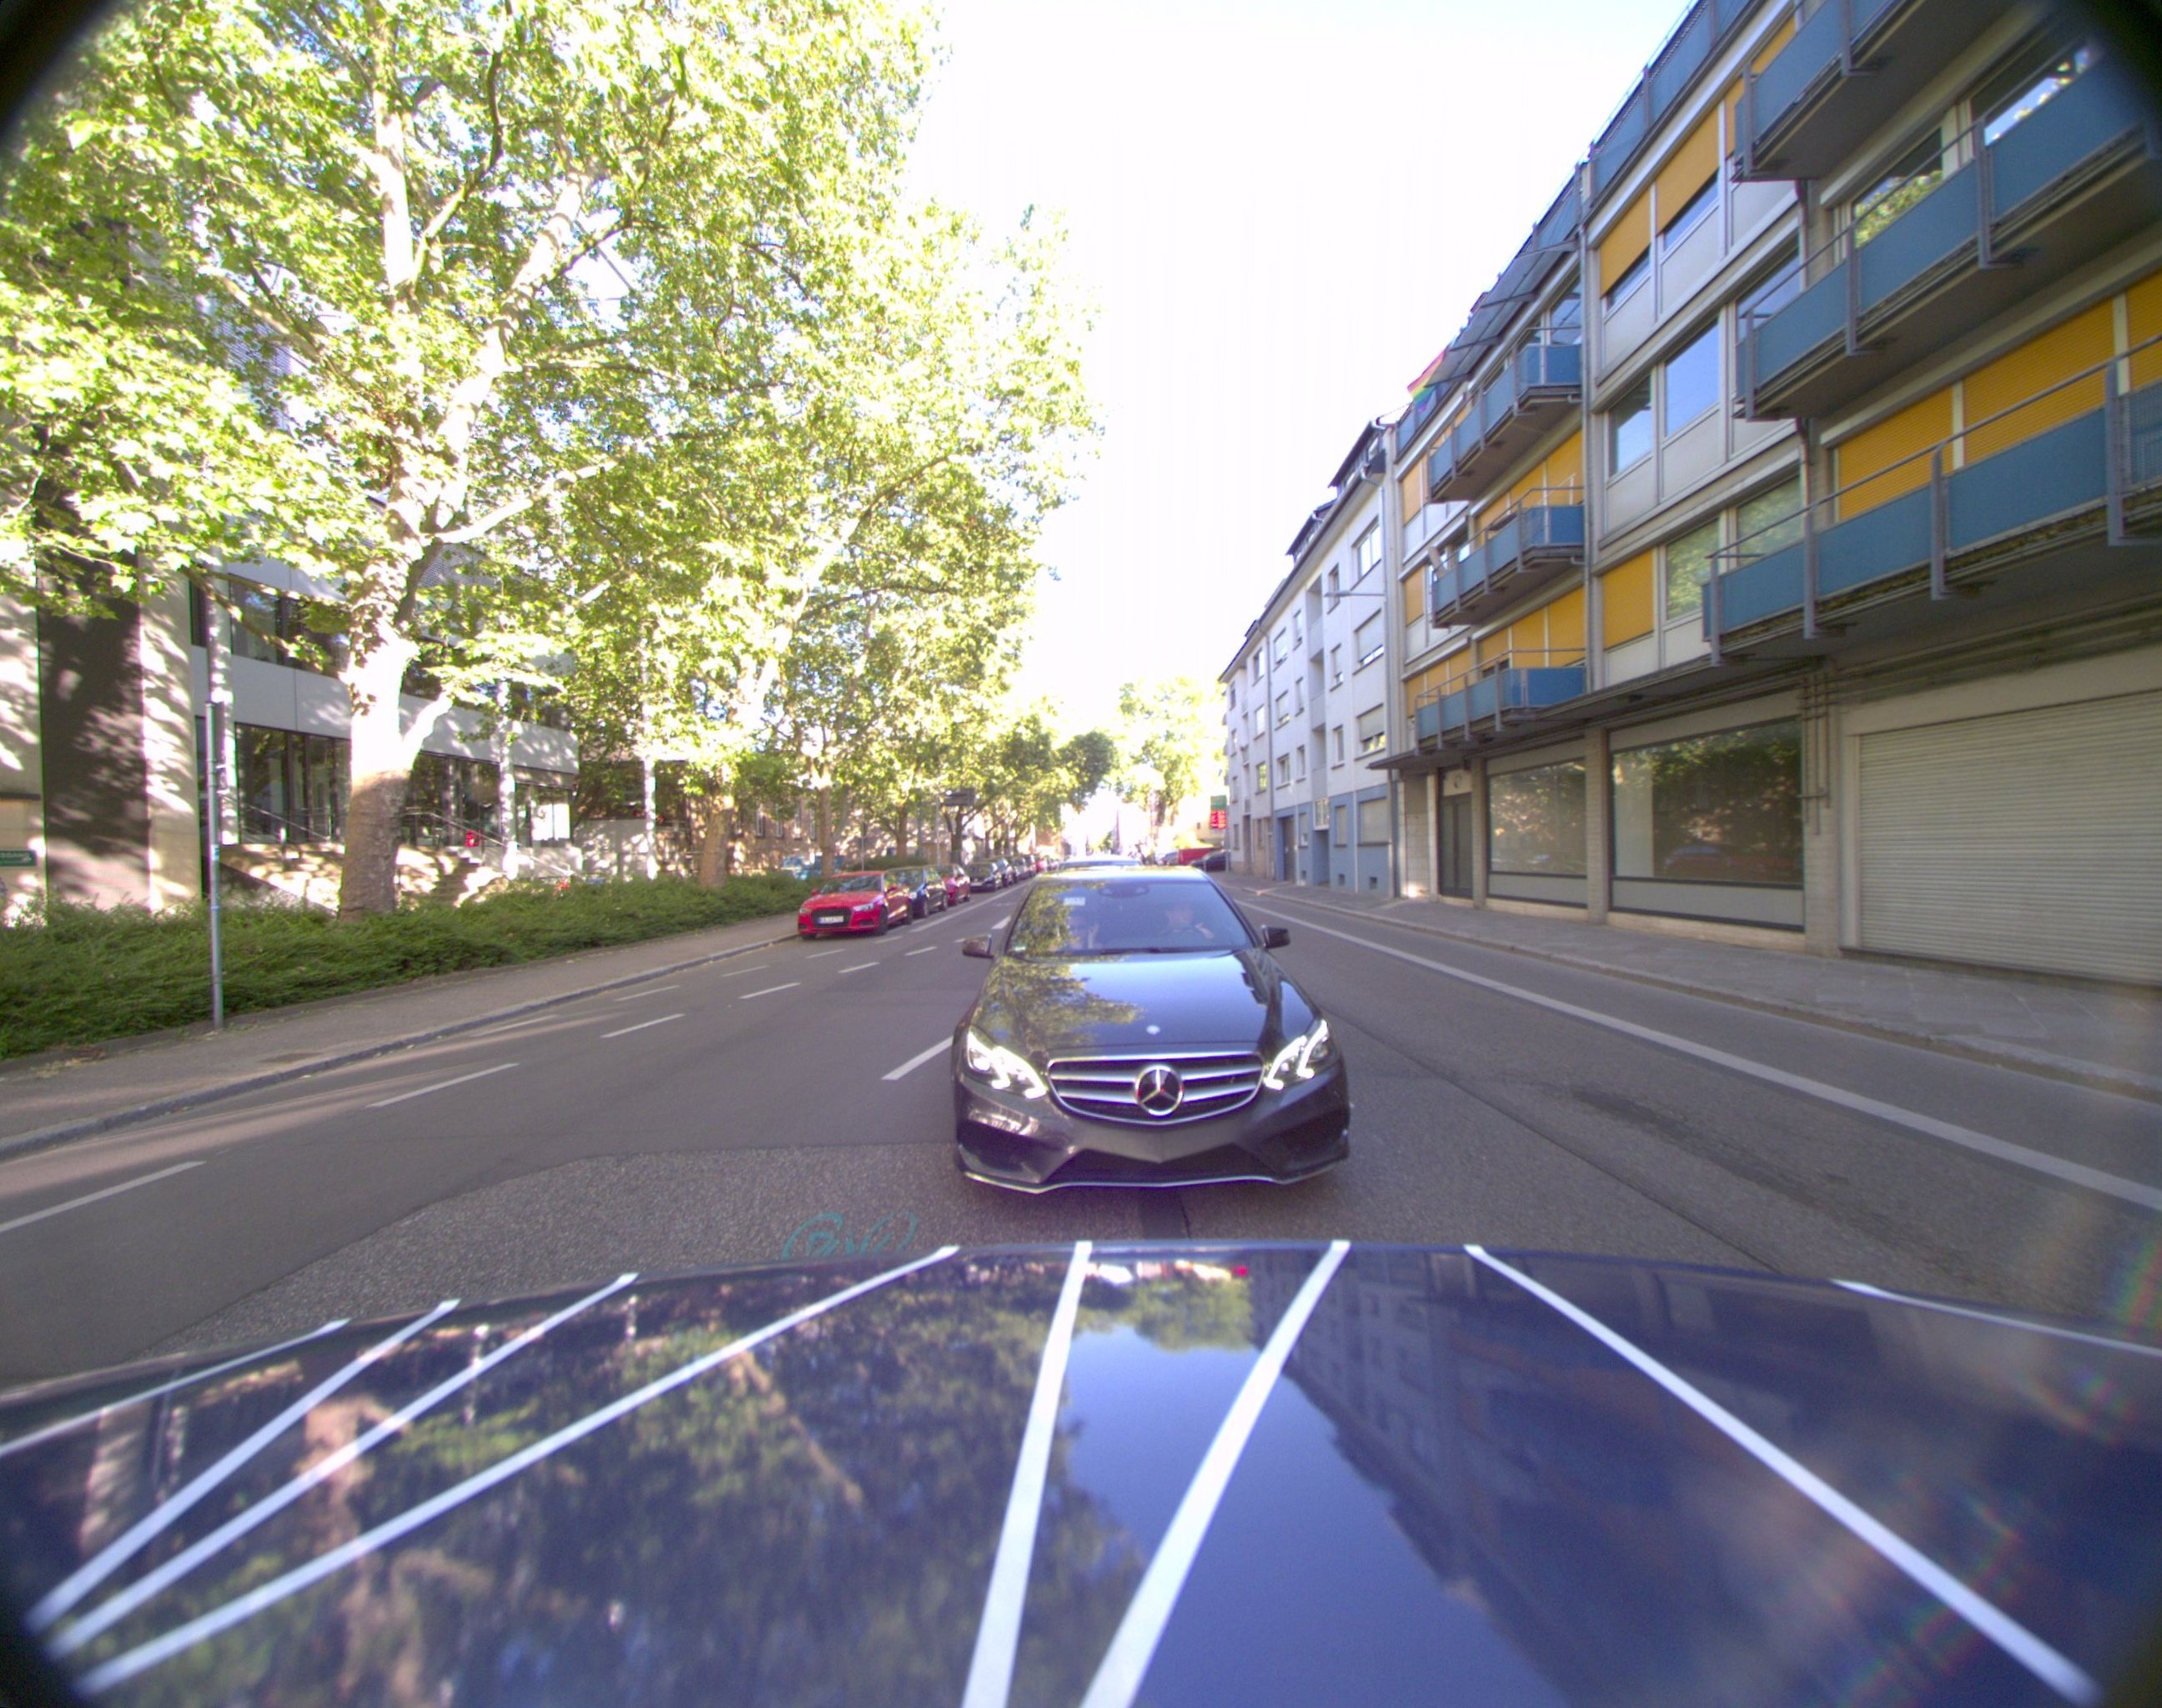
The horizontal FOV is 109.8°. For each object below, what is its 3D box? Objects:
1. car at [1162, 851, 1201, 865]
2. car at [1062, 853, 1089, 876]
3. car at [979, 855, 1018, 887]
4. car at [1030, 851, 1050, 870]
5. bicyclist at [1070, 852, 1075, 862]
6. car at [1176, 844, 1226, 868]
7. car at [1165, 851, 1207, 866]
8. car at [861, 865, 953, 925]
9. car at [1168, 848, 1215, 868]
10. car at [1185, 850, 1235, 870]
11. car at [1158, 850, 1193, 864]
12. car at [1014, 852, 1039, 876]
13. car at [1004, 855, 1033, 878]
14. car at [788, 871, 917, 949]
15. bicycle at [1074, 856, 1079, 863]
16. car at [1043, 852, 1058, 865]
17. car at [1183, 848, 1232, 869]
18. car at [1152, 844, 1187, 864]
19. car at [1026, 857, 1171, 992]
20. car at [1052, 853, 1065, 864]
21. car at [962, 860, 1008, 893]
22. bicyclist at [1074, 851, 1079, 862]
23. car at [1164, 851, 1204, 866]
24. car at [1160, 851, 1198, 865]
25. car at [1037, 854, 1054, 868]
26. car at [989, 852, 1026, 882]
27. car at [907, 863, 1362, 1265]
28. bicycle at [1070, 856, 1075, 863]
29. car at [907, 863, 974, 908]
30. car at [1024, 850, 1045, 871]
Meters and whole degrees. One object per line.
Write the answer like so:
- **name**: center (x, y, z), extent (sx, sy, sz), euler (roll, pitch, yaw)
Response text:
- **car**: center (10.519, 0.427, 79.744), extent (3.905, 1.325, 1.525), euler (-2, 1, 2)
- **car**: center (-0.382, 0.749, 55.890), extent (1.693, 1.432, 3.902), euler (-3, 1, 3)
- **car**: center (-4.536, 0.909, 42.065), extent (1.686, 1.610, 3.836), euler (-2, 0, 0)
- **car**: center (-4.099, 0.636, 76.019), extent (1.686, 1.749, 3.836), euler (-2, 0, 0)
- **bicyclist**: center (-1.350, 0.516, 117.047), extent (0.756, 1.512, 0.768), euler (-2, 1, -1)
- **car**: center (10.074, 0.165, 63.982), extent (3.905, 1.895, 1.749), euler (-2, 1, 2)
- **car**: center (10.372, 0.452, 74.968), extent (3.905, 1.366, 1.594), euler (-2, 1, 2)
- **car**: center (-5.010, 1.130, 22.420), extent (1.686, 1.458, 4.000), euler (-3, 0, 0)
- **car**: center (9.715, 0.330, 66.777), extent (3.905, 1.577, 1.603), euler (-2, 1, 2)
- **car**: center (9.960, 0.457, 58.732), extent (3.598, 1.401, 1.534), euler (-2, 0, 2)
- **car**: center (10.539, 0.332, 84.818), extent (3.782, 1.432, 1.539), euler (-2, 1, 2)
- **car**: center (-4.217, 0.754, 59.370), extent (1.663, 1.704, 3.836), euler (-2, 0, 0)
- **car**: center (-4.425, 0.876, 54.514), extent (1.686, 1.552, 3.868), euler (-2, 0, 0)
- **car**: center (-5.142, 1.192, 17.661), extent (1.724, 1.412, 4.030), euler (-4, 0, -1)
- **bicycle**: center (-0.721, 0.847, 120.089), extent (0.667, 1.093, 1.814), euler (-2, 1, 0)
- **car**: center (-3.793, 0.598, 95.687), extent (1.686, 1.546, 3.836), euler (-2, 0, 0)
- **car**: center (10.129, 0.357, 61.138), extent (3.668, 1.501, 1.602), euler (-2, 1, 2)
- **car**: center (10.399, 0.024, 89.311), extent (3.905, 2.164, 1.725), euler (-2, 1, 2)
- **car**: center (0.209, 0.883, 11.558), extent (1.732, 1.538, 4.293), euler (-2, 1, 0)
- **car**: center (-3.131, 0.650, 106.830), extent (1.686, 1.475, 3.836), euler (-2, 0, 0)
- **car**: center (-4.664, 1.049, 37.405), extent (1.686, 1.443, 4.000), euler (-2, 0, 0)
- **bicyclist**: center (-0.729, 0.387, 120.126), extent (0.756, 1.714, 0.768), euler (-2, 1, -1)
- **car**: center (10.403, 0.428, 76.990), extent (3.905, 1.366, 1.594), euler (-2, 1, 2)
- **car**: center (10.528, 0.400, 82.133), extent (3.905, 1.325, 1.525), euler (-2, 1, 2)
- **car**: center (-4.054, 0.746, 87.064), extent (1.639, 1.493, 3.752), euler (-2, 0, 0)
- **car**: center (-4.593, 0.773, 48.191), extent (1.819, 1.758, 4.431), euler (-2, 0, 0)
- **car**: center (0.216, 0.897, 5.285), extent (1.828, 1.495, 4.293), euler (-2, 1, 0)
- **bicycle**: center (-1.291, 0.876, 117.117), extent (0.667, 1.093, 1.814), euler (-2, 1, 0)
- **car**: center (-5.007, 1.095, 27.605), extent (1.666, 1.426, 3.781), euler (-2, 0, 0)
- **car**: center (-4.252, 0.590, 70.228), extent (1.646, 1.839, 3.836), euler (-2, 0, 0)
